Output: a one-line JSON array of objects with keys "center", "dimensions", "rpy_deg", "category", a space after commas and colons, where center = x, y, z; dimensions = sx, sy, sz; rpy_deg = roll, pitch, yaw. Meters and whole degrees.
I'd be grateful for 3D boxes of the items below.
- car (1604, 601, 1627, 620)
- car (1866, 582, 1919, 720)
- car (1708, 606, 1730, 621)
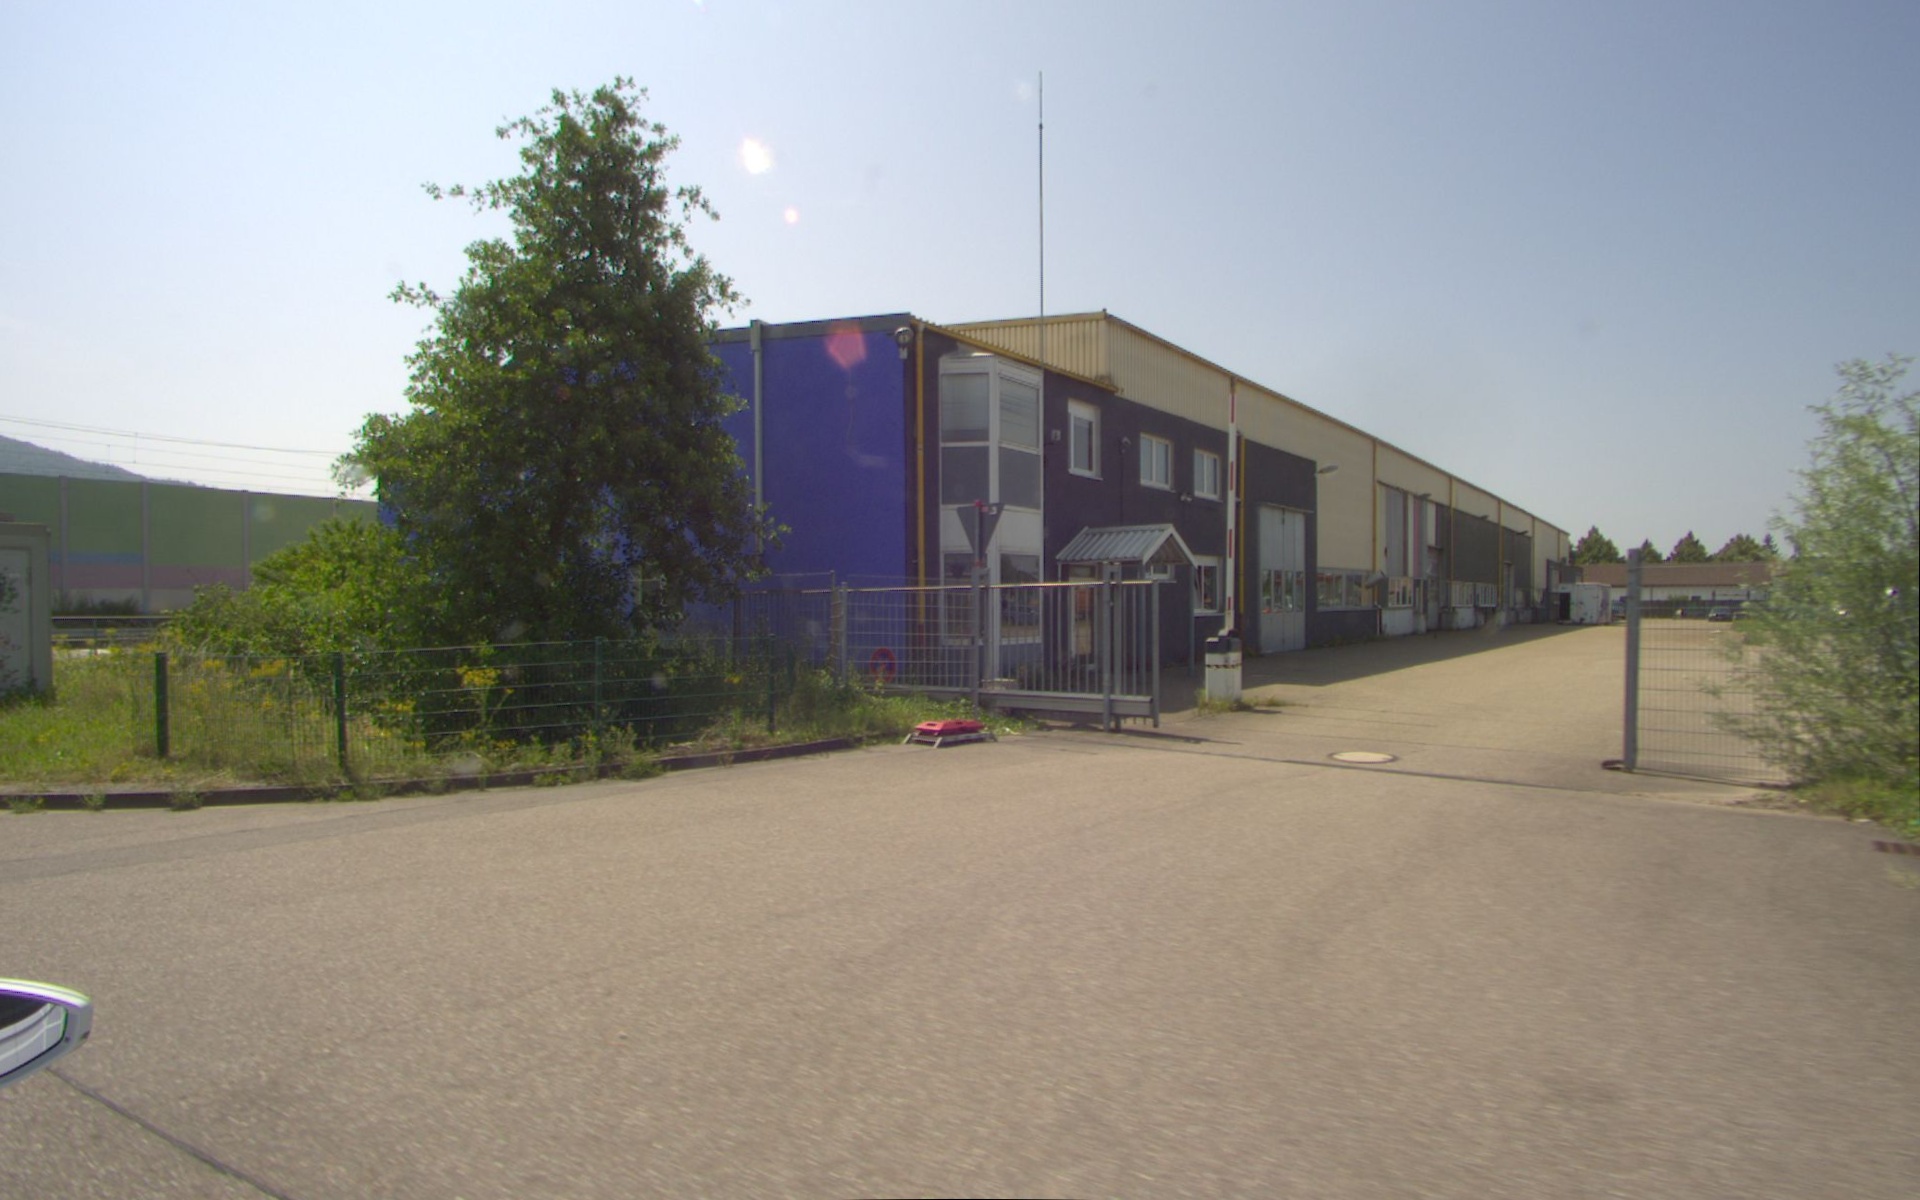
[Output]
[{"center": [67.237, 1.061, 102.670], "dimensions": [1.908, 1.906, 4.043], "rpy_deg": [0, 0, 35], "category": "car"}, {"center": [15.457, 0.662, 13.315], "dimensions": [5.023, 1.924, 1.841], "rpy_deg": [-2, -1, 43], "category": "car"}, {"center": [70.738, 1.238, 93.288], "dimensions": [1.587, 1.350, 3.813], "rpy_deg": [0, 0, 38], "category": "car"}]
